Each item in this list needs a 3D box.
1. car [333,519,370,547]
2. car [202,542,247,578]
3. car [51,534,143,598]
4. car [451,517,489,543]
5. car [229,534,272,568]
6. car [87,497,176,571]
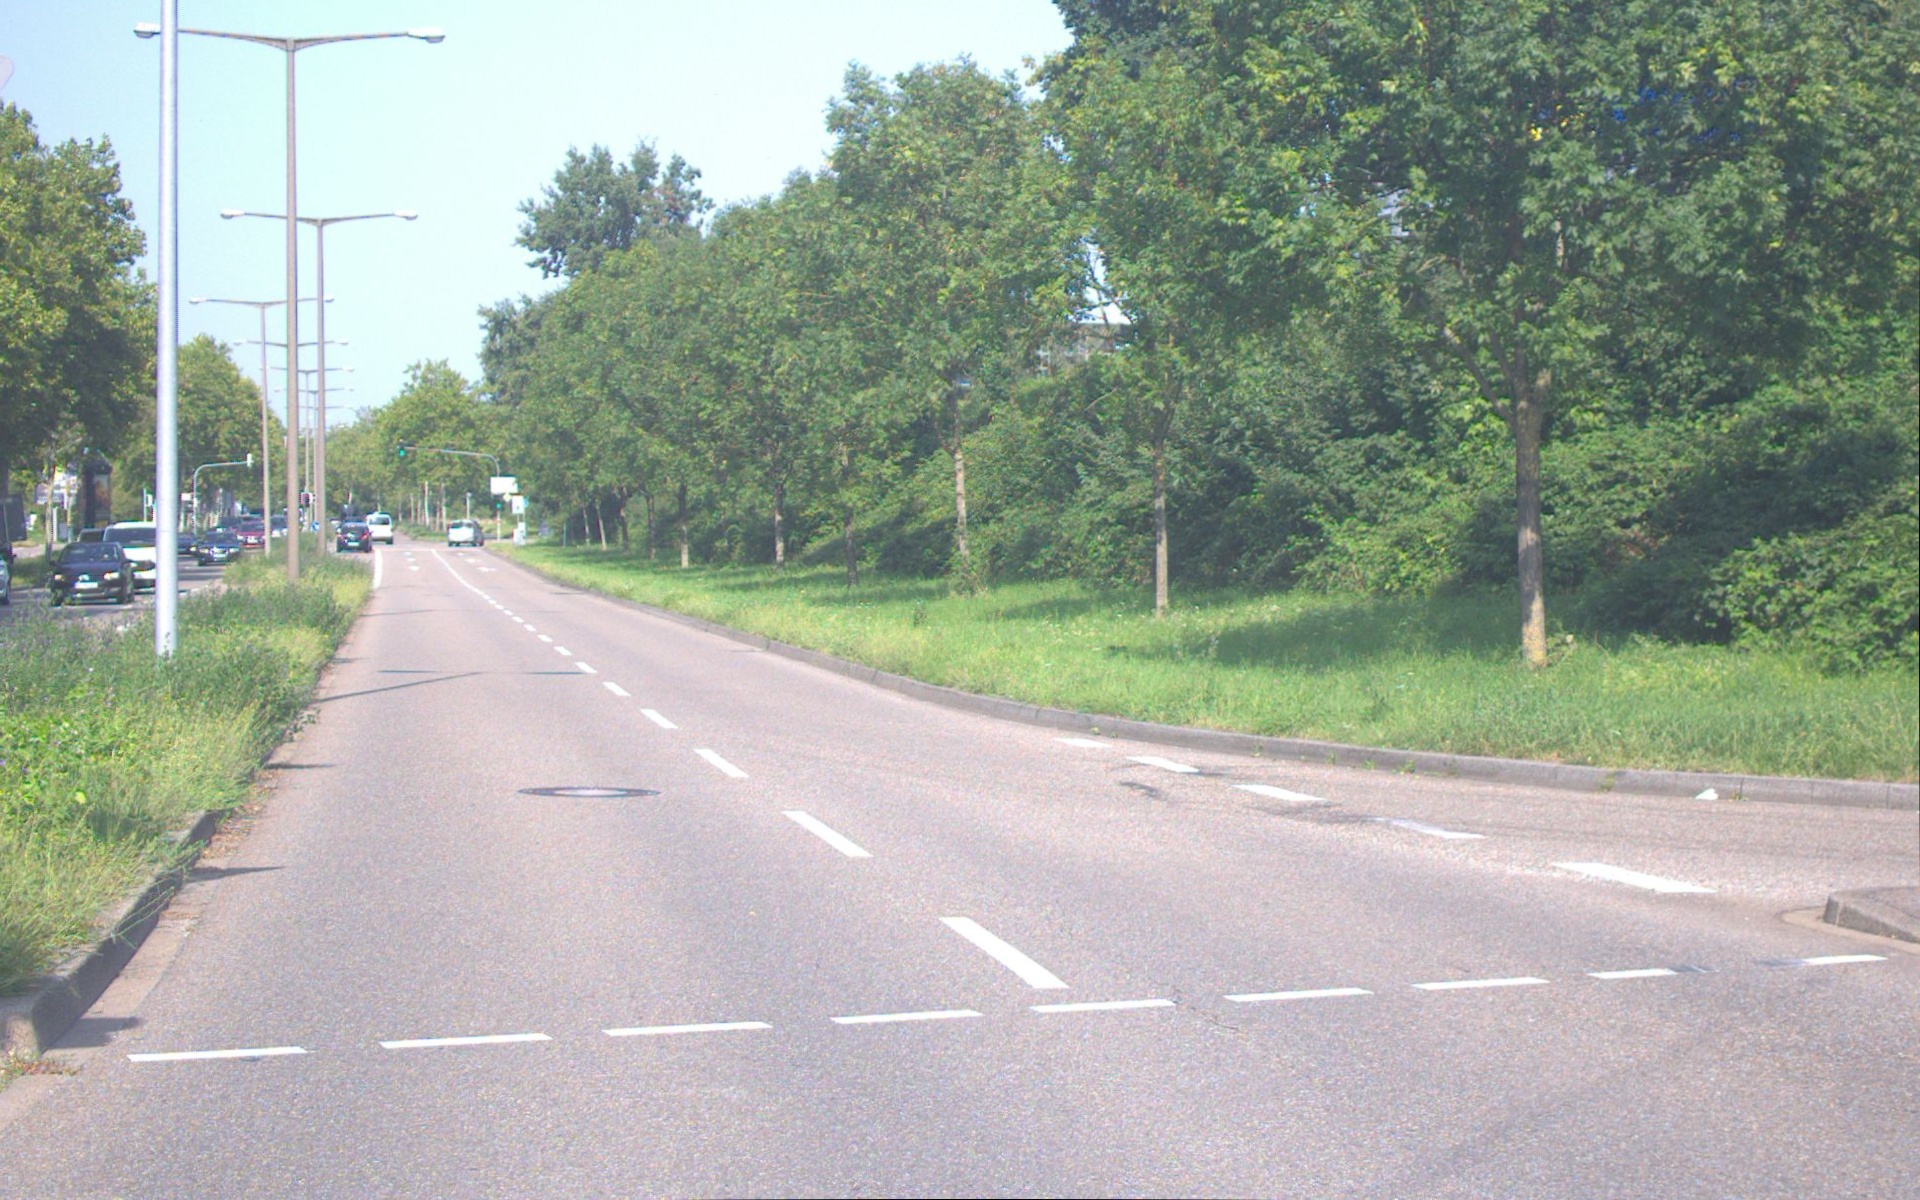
[{"bbox_3d":[-32.203,-3.569,182.051,1.691,1.480,4.001,0,1,-6],"label":"car"},{"bbox_3d":[-31.807,-1.747,148.759,1.746,1.474,4.588,-2,1,-11],"label":"car"},{"bbox_3d":[-19.825,-0.787,79.082,1.614,1.394,3.858,-2,1,-8],"label":"car"},{"bbox_3d":[-29.557,-4.212,207.423,1.794,1.505,4.000,0,1,-1],"label":"car"},{"bbox_3d":[-36.915,-2.535,178.961,1.953,1.718,4.588,0,1,-9],"label":"car"},{"bbox_3d":[-22.749,-1.791,94.537,1.993,1.947,5.037,-1,1,-10],"label":"car"}]
